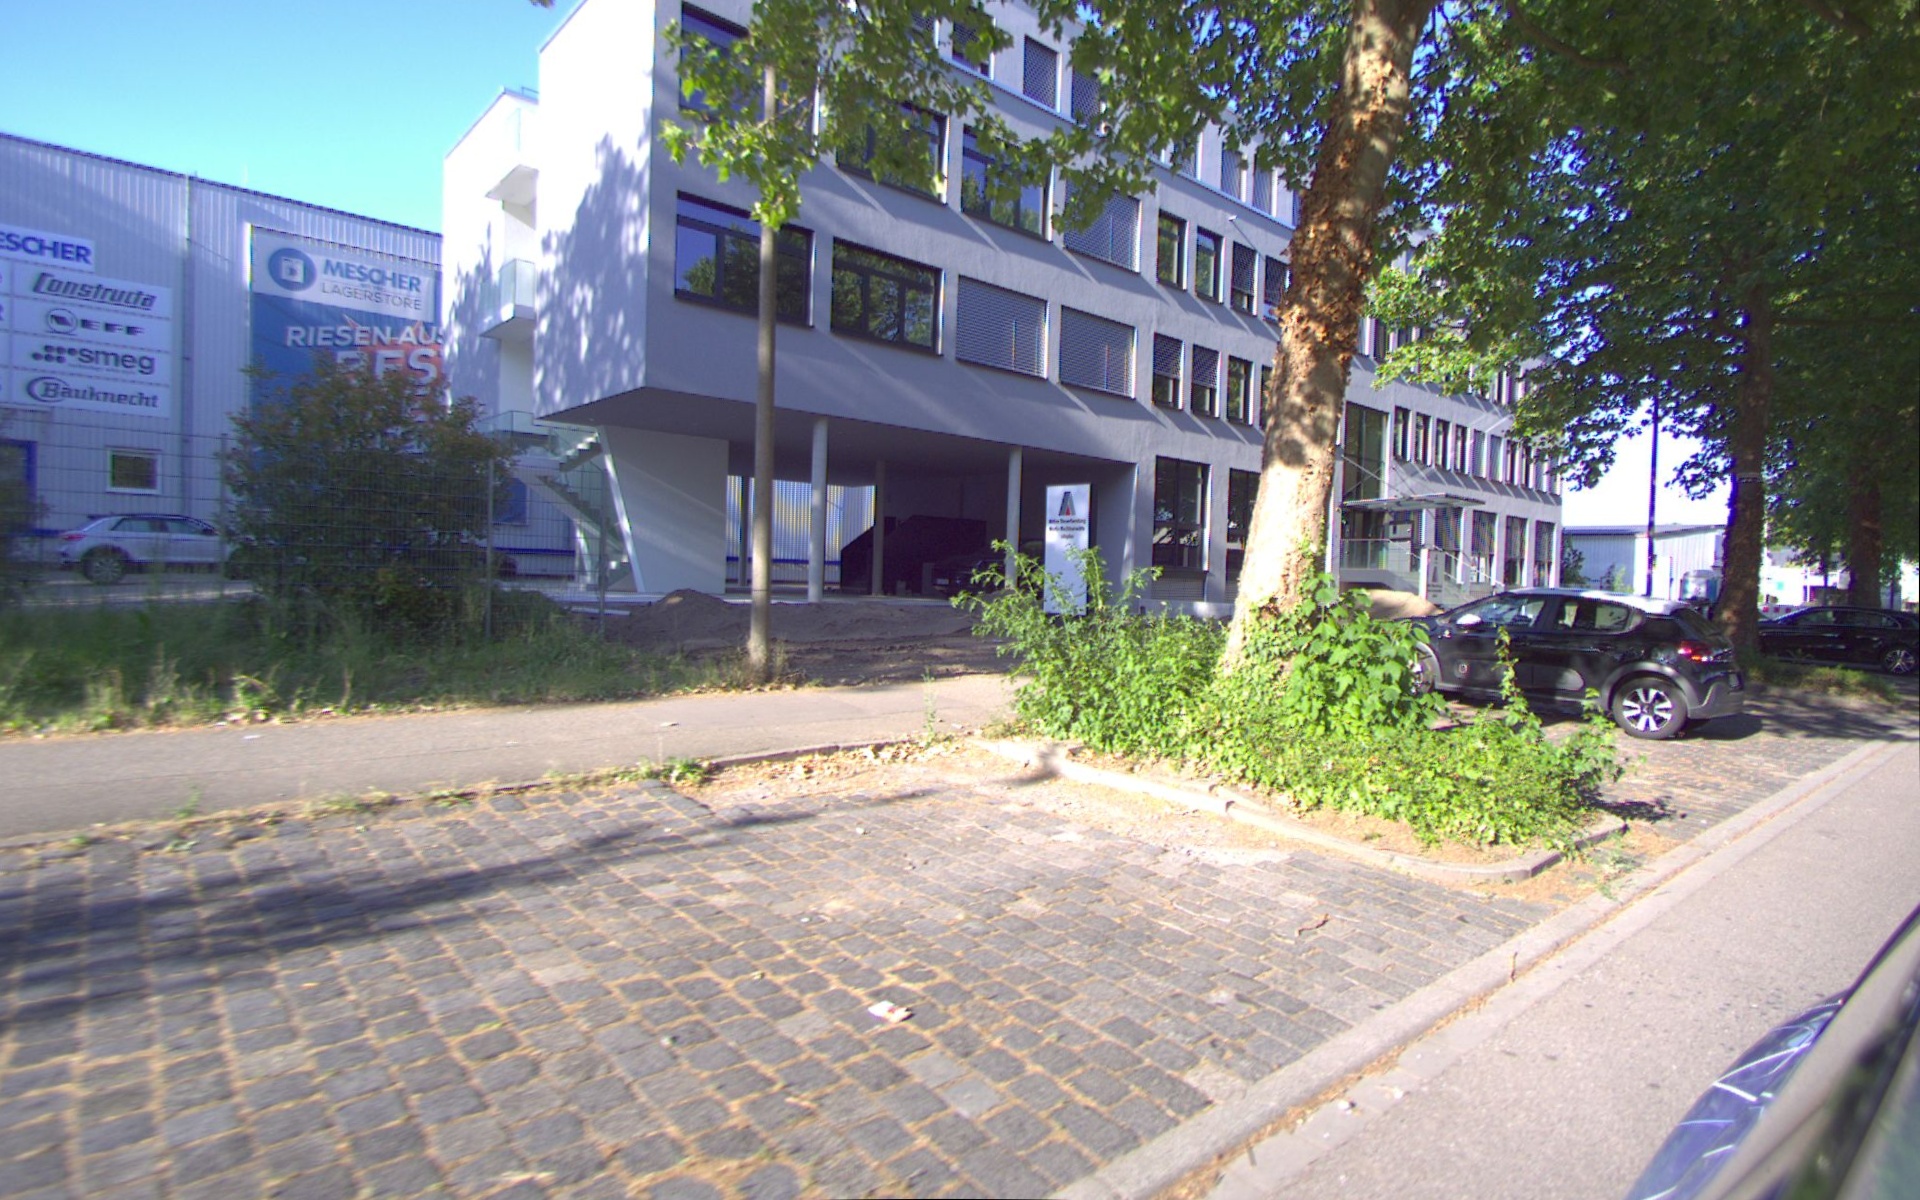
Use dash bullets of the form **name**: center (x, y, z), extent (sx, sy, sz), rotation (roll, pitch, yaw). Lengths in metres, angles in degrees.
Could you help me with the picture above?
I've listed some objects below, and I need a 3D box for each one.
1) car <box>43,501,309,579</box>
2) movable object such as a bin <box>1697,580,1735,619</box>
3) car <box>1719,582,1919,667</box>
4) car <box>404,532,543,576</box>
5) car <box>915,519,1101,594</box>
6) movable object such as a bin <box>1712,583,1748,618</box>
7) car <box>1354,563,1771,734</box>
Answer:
- **car**: center (-18.034, -1.305, 23.441), extent (4.695, 1.565, 1.995), rotation (0, 1, -45)
- **movable object such as a bin**: center (27.169, -0.039, 36.370), extent (1.592, 1.367, 0.749), rotation (0, 1, -41)
- **car**: center (20.416, 0.546, 23.326), extent (1.829, 1.503, 4.294), rotation (0, 6, -42)
- **car**: center (-16.608, -1.534, 34.631), extent (3.930, 1.349, 1.873), rotation (0, 1, -41)
- **car**: center (1.301, -1.066, 26.240), extent (4.580, 1.753, 2.000), rotation (0, 1, -36)
- **movable object such as a bin**: center (29.000, -0.002, 38.109), extent (1.583, 1.279, 0.749), rotation (0, 1, -41)
- **car**: center (6.914, 0.420, 11.899), extent (1.829, 1.504, 3.792), rotation (0, 4, -42)
